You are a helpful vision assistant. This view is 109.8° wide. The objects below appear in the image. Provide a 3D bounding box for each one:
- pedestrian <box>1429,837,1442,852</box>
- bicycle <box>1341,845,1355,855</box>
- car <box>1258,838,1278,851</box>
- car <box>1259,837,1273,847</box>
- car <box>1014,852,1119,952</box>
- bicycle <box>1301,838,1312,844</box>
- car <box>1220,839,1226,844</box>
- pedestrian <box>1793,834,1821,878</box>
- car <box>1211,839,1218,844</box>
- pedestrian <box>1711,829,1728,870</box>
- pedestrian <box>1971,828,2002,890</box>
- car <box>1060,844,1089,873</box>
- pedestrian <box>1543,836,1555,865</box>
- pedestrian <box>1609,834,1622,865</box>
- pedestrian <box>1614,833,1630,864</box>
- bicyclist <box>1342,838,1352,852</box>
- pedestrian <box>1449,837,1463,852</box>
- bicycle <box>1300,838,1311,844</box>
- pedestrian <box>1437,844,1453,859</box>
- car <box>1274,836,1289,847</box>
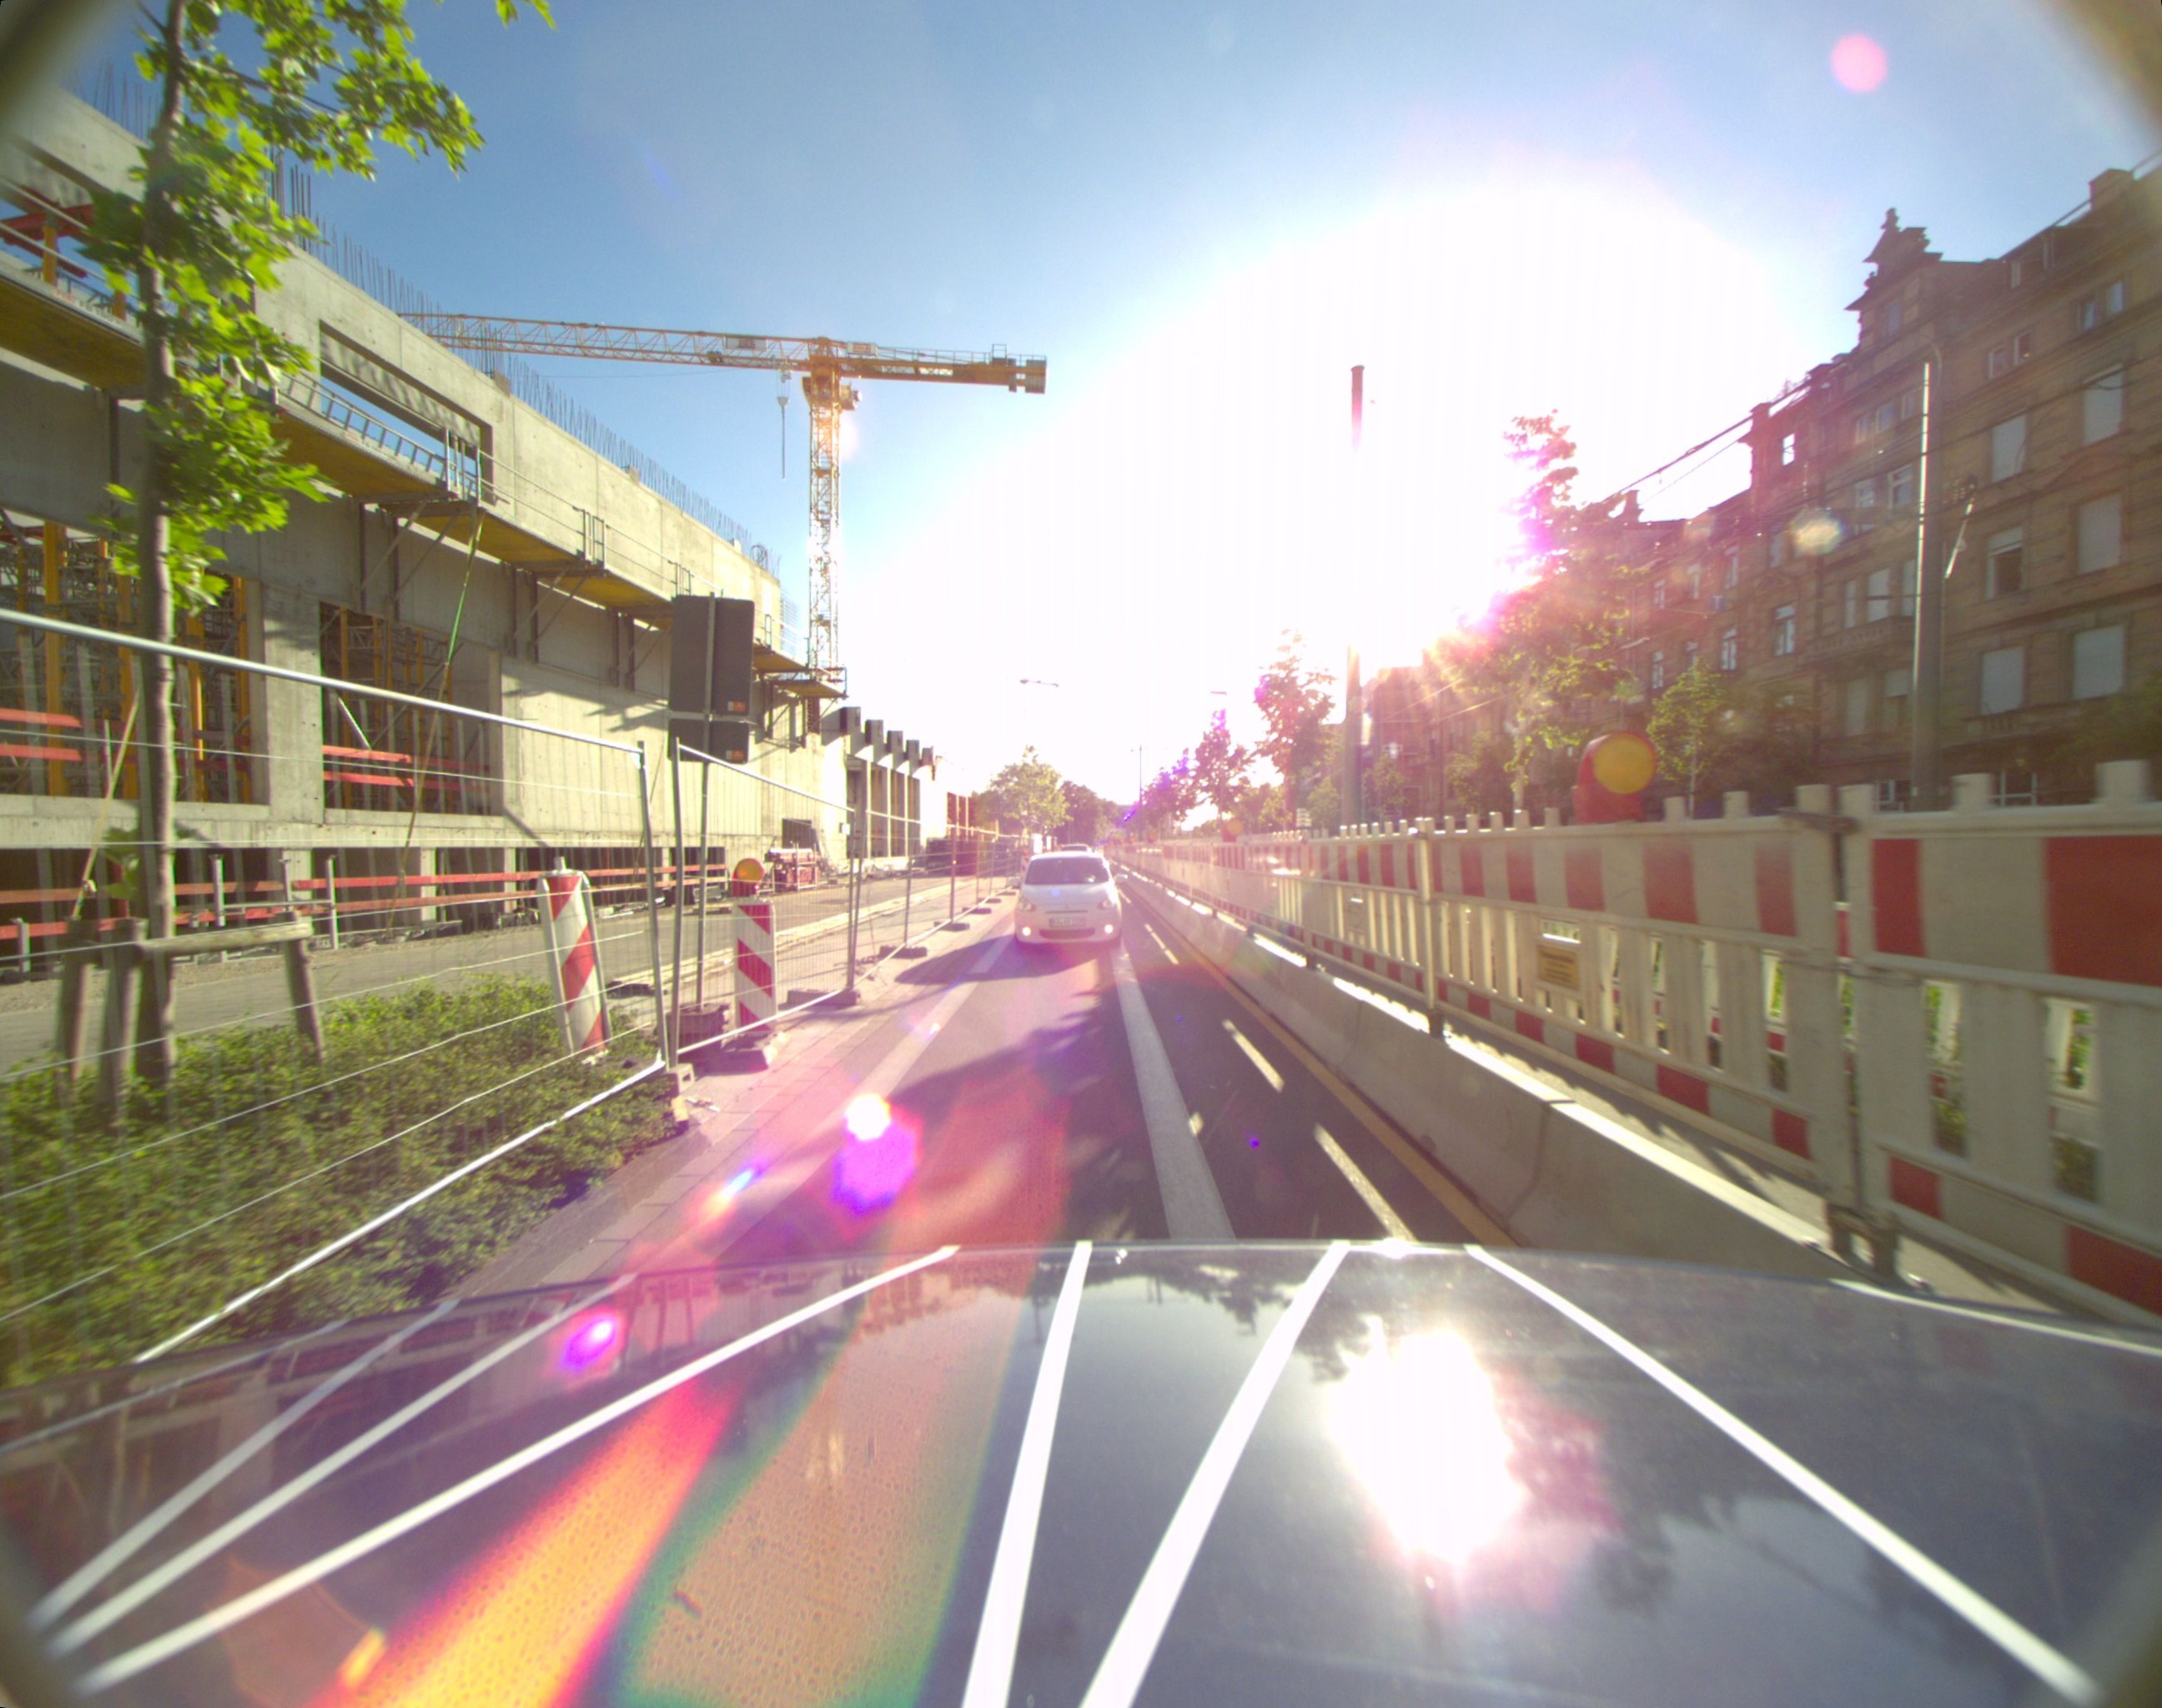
[{"bbox_3d":[29.508,-0.788,63.282,0.692,1.239,0.929,0,2,2],"label":"pedestrian"},{"bbox_3d":[23.850,-0.388,67.937,0.639,0.853,2.031,0,1,2],"label":"bicycle"},{"bbox_3d":[21.855,-1.120,88.937,1.598,1.474,3.623,0,1,2],"label":"car"},{"bbox_3d":[28.480,-1.830,116.968,1.741,1.527,3.886,-1,1,9],"label":"car"},{"bbox_3d":[-0.208,0.757,13.655,1.614,1.489,3.394,-2,1,1],"label":"car"},{"bbox_3d":[39.524,-2.226,133.210,1.931,1.066,0.425,1,2,13],"label":"bicycle"},{"bbox_3d":[42.494,-3.731,227.360,1.631,1.487,3.781,0,1,7],"label":"car"},{"bbox_3d":[26.390,0.079,27.615,0.488,1.576,0.533,-2,2,1],"label":"pedestrian"},{"bbox_3d":[43.060,-4.038,245.165,1.731,1.737,4.122,0,1,7],"label":"car"},{"bbox_3d":[27.285,-0.197,32.450,0.367,1.755,0.406,-2,2,1],"label":"pedestrian"},{"bbox_3d":[25.998,0.134,21.817,0.510,1.755,0.405,-3,2,-18],"label":"pedestrian"},{"bbox_3d":[-0.306,0.195,40.286,1.458,1.472,3.527,0,1,1],"label":"car"},{"bbox_3d":[26.477,-0.202,42.962,0.404,1.576,0.425,-2,2,1],"label":"pedestrian"},{"bbox_3d":[27.566,-0.215,39.178,0.368,1.576,0.405,-4,2,-38],"label":"pedestrian"},{"bbox_3d":[28.024,-0.273,39.337,0.484,1.576,0.481,-3,2,-22],"label":"pedestrian"},{"bbox_3d":[23.854,-0.842,68.208,0.639,1.232,0.738,0,2,2],"label":"bicyclist"},{"bbox_3d":[29.676,-0.732,60.160,0.692,1.201,0.929,0,2,2],"label":"pedestrian"},{"bbox_3d":[39.700,-2.249,134.417,1.877,1.066,0.425,1,2,13],"label":"bicycle"},{"bbox_3d":[29.316,-0.214,61.212,0.793,1.201,0.929,0,2,2],"label":"pedestrian"},{"bbox_3d":[28.228,-1.726,106.940,1.652,1.545,3.968,0,1,9],"label":"car"}]
